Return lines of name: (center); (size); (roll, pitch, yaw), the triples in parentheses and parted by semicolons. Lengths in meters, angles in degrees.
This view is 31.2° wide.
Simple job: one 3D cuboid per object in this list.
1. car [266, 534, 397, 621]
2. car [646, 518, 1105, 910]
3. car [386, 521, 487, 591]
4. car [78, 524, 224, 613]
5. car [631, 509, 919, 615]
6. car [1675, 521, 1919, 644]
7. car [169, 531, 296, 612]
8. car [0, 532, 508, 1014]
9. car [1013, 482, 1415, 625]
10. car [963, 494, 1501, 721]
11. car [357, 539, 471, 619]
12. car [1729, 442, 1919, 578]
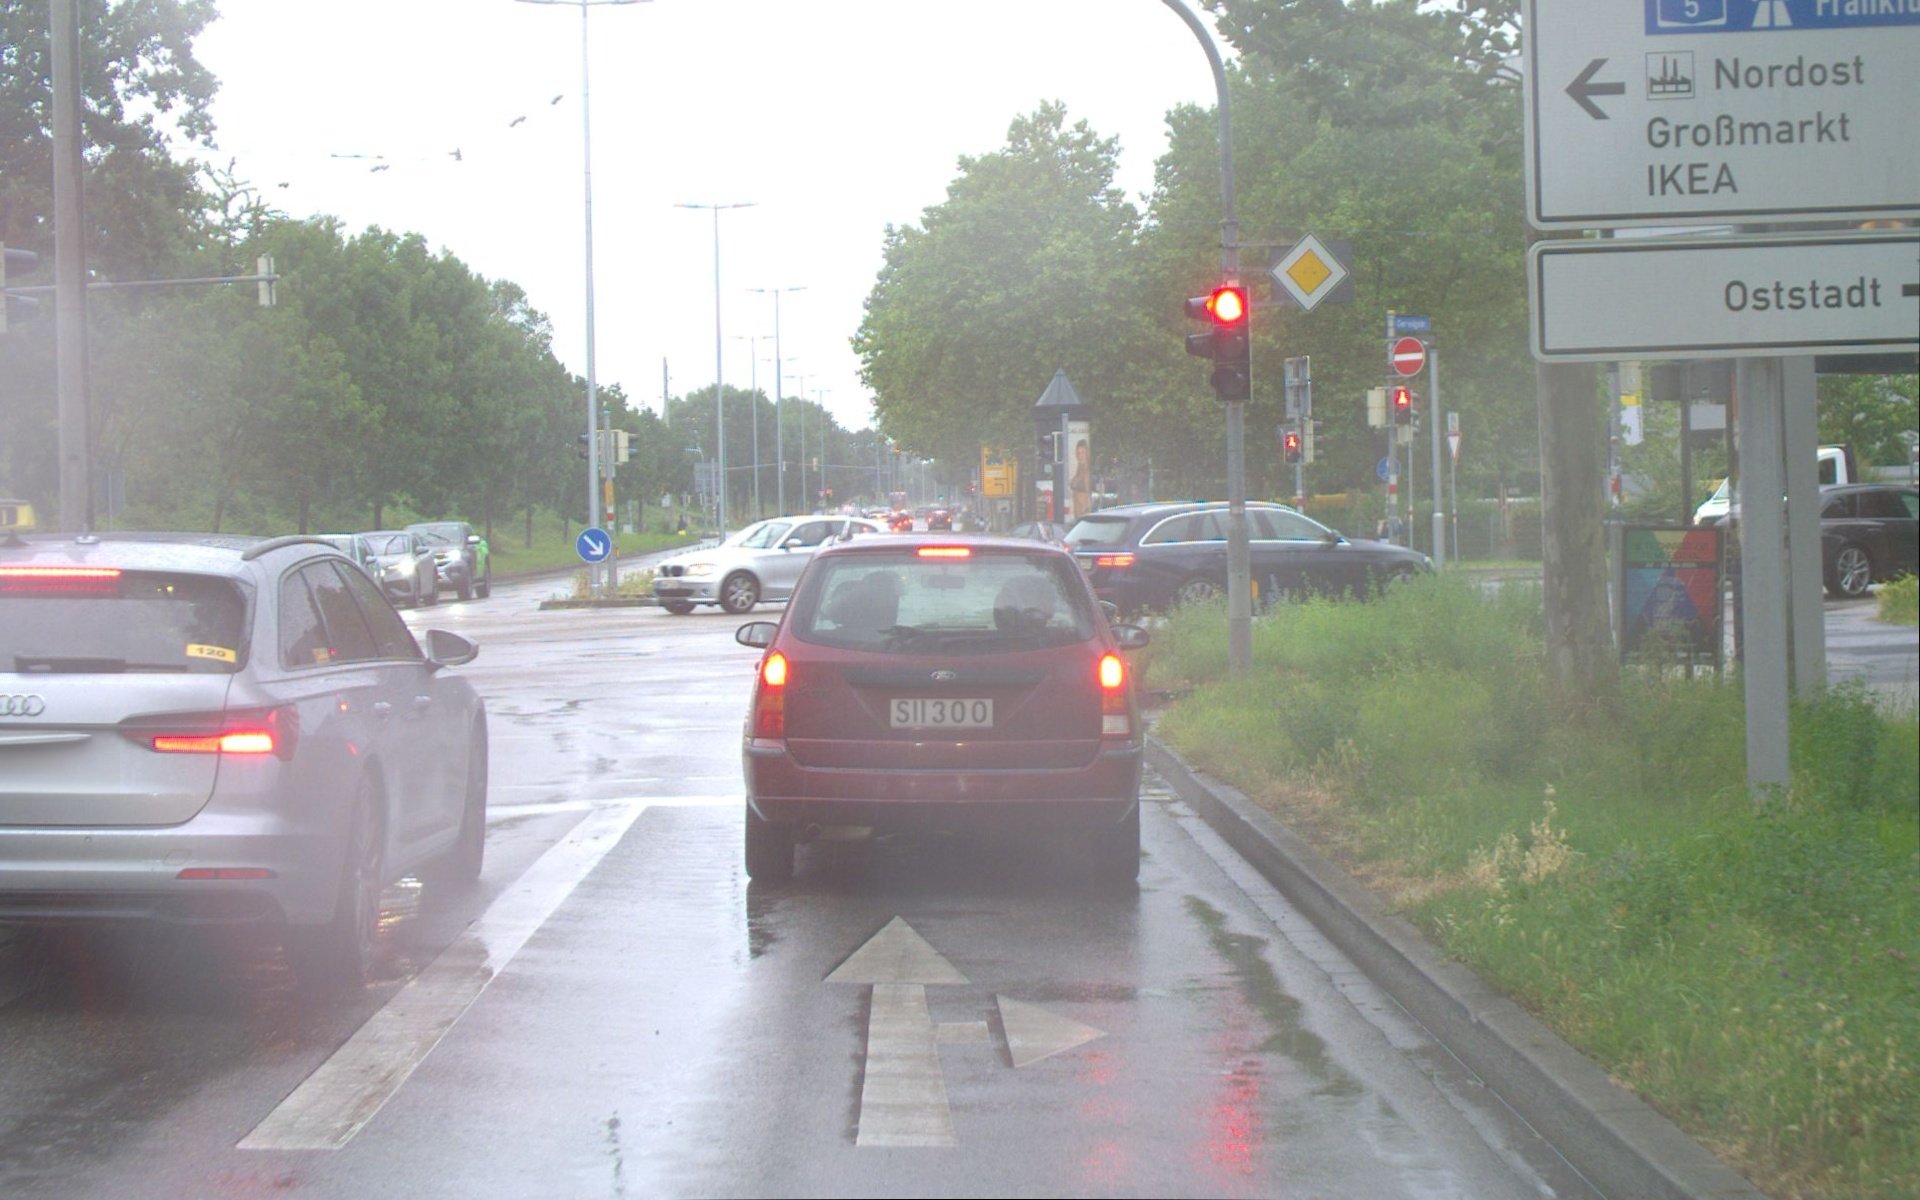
car: (-11.627, -0.443, 63.822); (1.712, 1.525, 4.000); (-1, 1, -1)
car: (-0.360, 0.408, 15.765); (1.796, 1.532, 4.387); (1, 1, -1)
car: (-11.907, -1.024, 78.382); (1.712, 1.525, 4.000); (-1, 1, -1)
car: (-14.685, -0.595, 62.598); (1.712, 1.525, 4.000); (-1, 1, -1)
car: (-2.754, -0.583, 51.679); (3.988, 1.481, 1.818); (-2, 1, -39)
car: (11.631, -0.264, 44.937); (4.372, 1.532, 1.802); (-1, 1, -29)
car: (-14.590, -0.597, 69.138); (1.712, 1.525, 4.000); (-1, 1, -1)
car: (-2.772, 0.472, 12.515); (1.690, 1.428, 4.574); (0, 1, -1)
car: (2.973, -0.561, 40.006); (4.372, 1.532, 1.802); (-2, 1, -29)
car: (2.297, -0.006, 28.326); (4.375, 1.531, 1.801); (-5, 4, -40)
car: (-11.229, -0.456, 70.906); (1.712, 1.525, 4.000); (-1, 1, -1)
car: (15.787, -1.613, 60.539); (4.374, 2.183, 1.802); (-5, 3, -35)
